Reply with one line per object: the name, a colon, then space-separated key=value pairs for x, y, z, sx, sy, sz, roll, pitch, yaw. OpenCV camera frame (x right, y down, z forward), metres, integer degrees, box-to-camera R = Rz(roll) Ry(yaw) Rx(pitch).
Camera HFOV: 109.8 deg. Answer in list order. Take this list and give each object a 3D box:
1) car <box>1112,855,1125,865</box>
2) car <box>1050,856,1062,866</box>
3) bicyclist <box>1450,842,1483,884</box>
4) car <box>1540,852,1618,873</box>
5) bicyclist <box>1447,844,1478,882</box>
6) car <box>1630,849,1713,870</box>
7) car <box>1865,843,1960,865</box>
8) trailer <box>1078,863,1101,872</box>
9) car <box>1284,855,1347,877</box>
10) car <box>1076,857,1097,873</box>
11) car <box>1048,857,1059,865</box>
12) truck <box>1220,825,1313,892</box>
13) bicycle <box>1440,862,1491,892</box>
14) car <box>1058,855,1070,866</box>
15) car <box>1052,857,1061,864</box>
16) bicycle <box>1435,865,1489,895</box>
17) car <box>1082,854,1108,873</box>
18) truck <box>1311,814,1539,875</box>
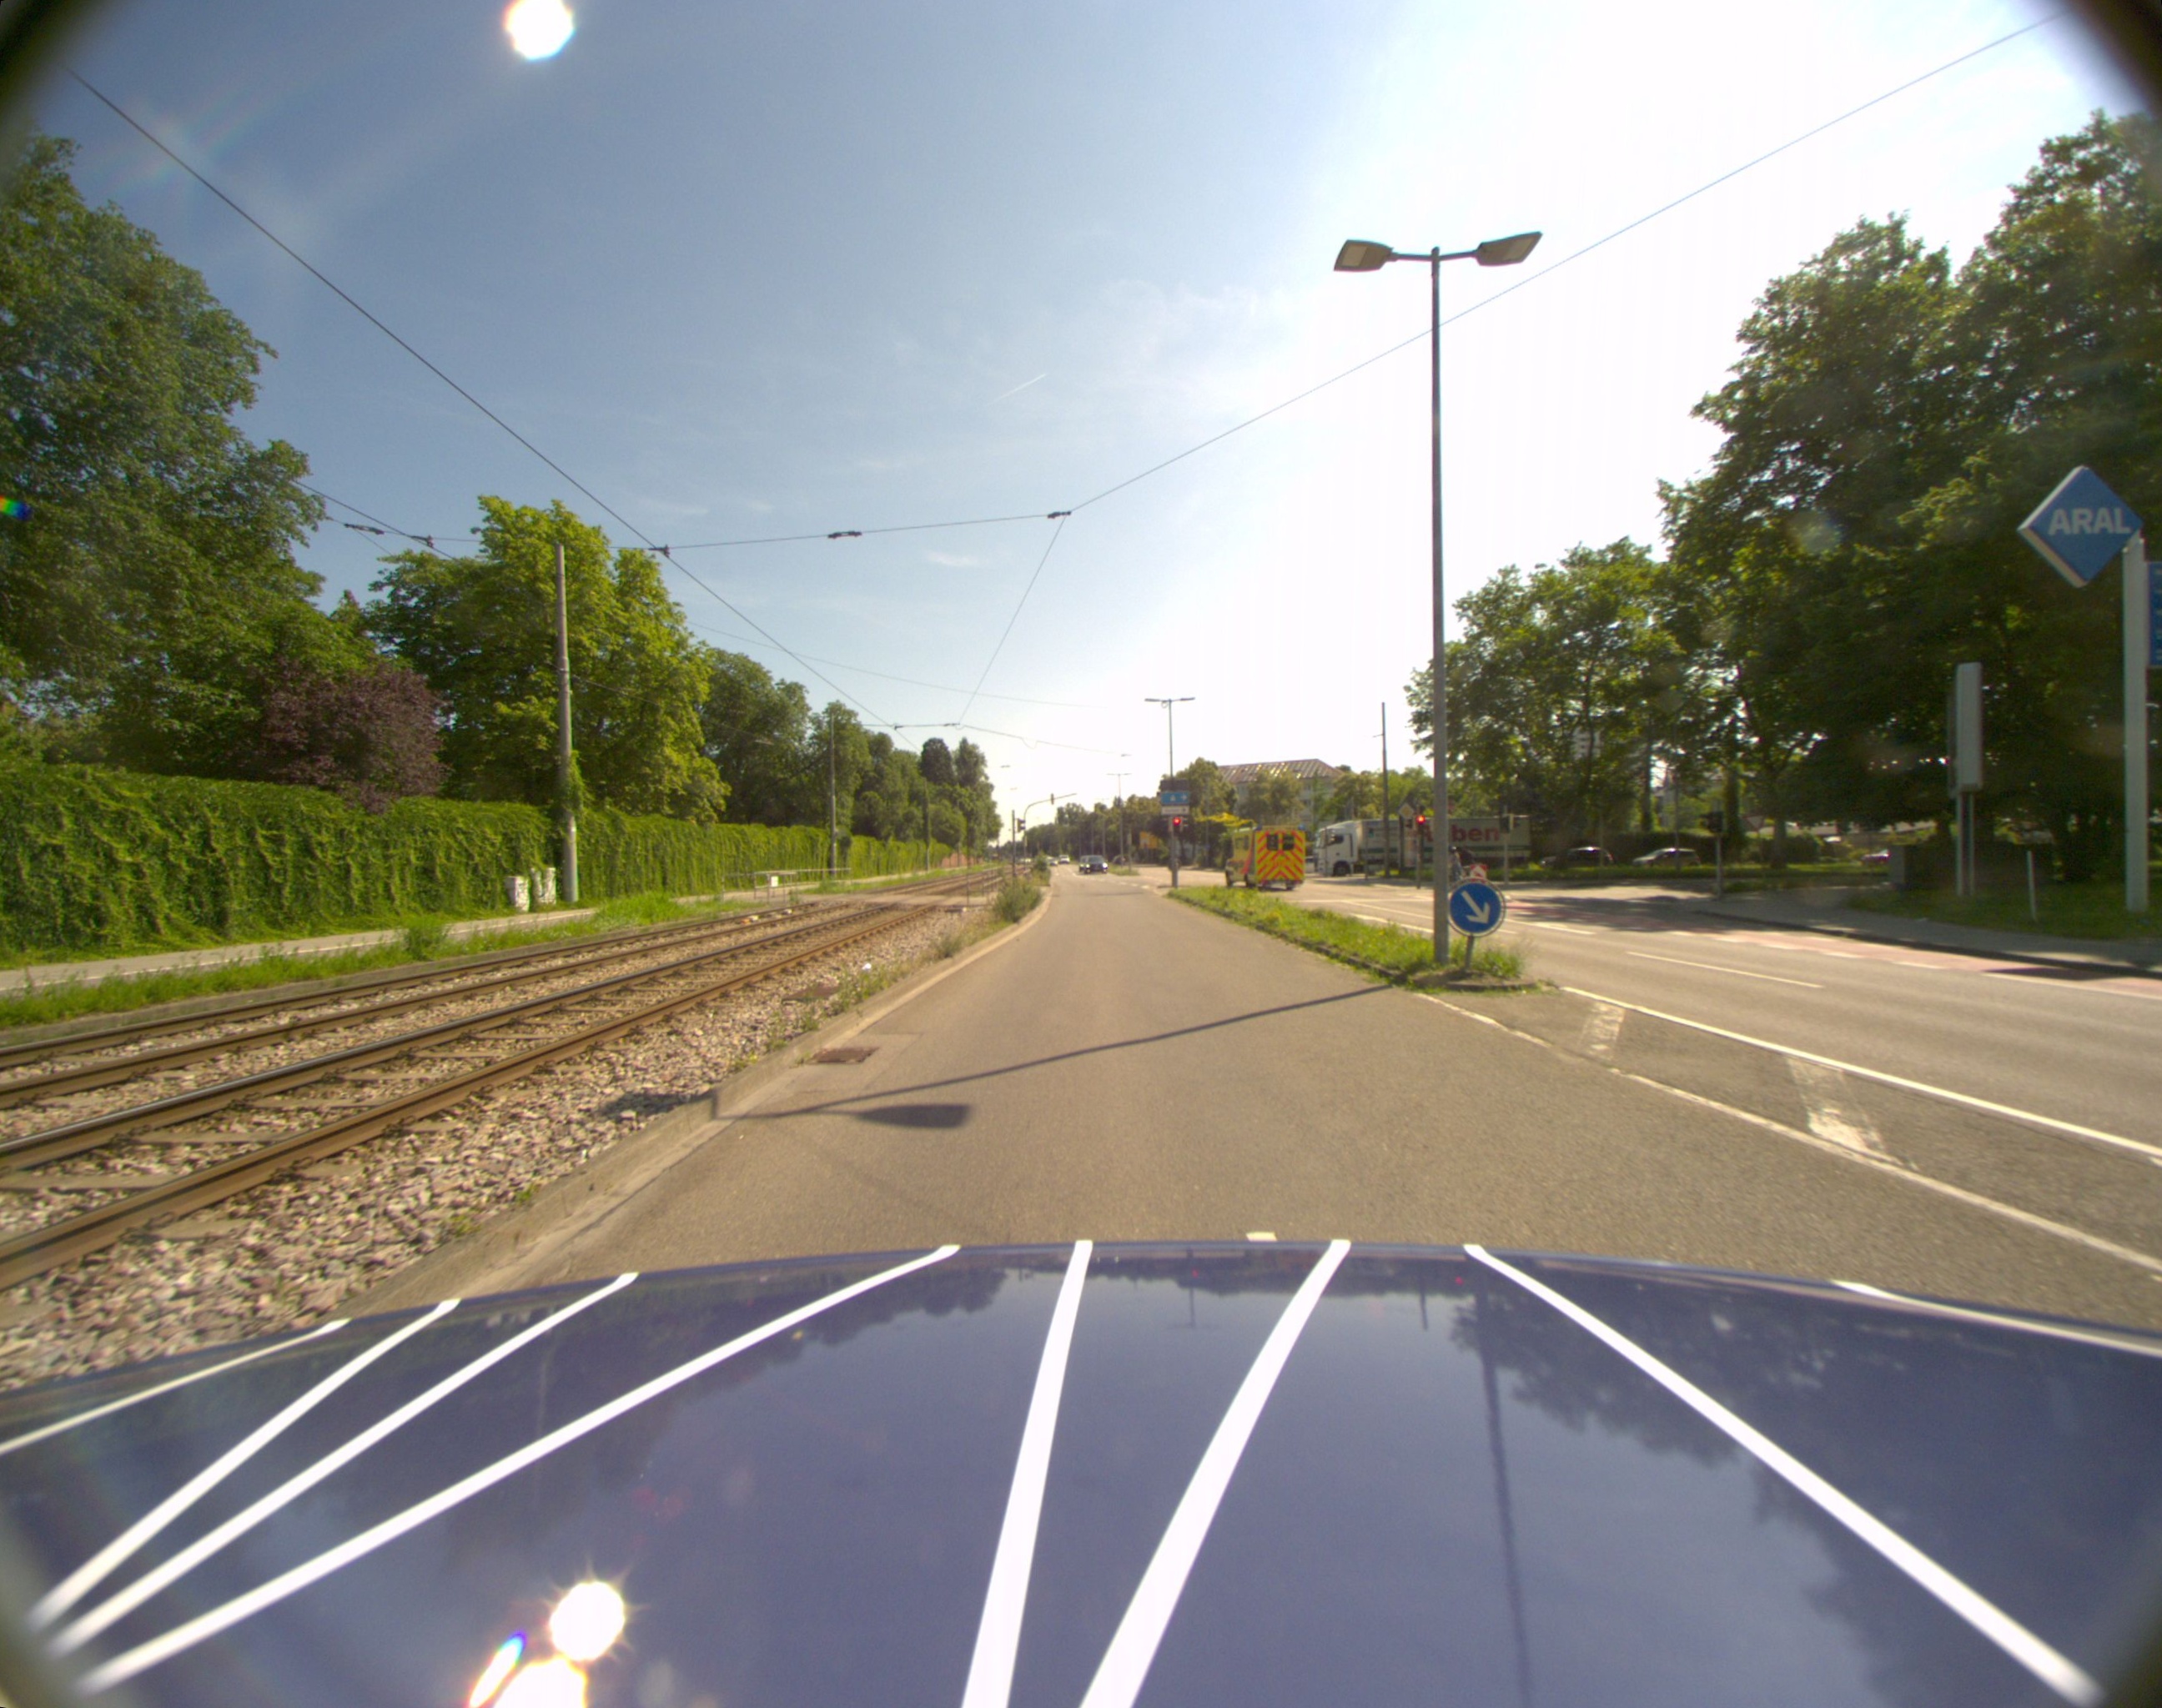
car: x=6.293 y=1.017 z=128.842 sx=1.755 sy=1.573 sz=4.504 roll=0 pitch=0 yaw=-4
car: x=-4.284 y=1.233 z=130.168 sx=1.931 sy=1.593 sz=4.467 roll=-2 pitch=0 yaw=-2
bicyclist: x=15.506 y=0.367 z=30.601 sx=0.837 sy=1.664 sz=0.827 roll=-2 pitch=-1 yaw=-1
car: x=36.043 y=0.603 z=55.055 sx=4.365 sy=1.360 sz=1.758 roll=-2 pitch=-1 yaw=7
bicyclist: x=14.452 y=0.335 z=28.776 sx=0.710 sy=1.412 sz=0.739 roll=-2 pitch=-1 yaw=-9
car: x=42.348 y=0.411 z=54.569 sx=4.365 sy=1.360 sz=1.758 roll=-2 pitch=-1 yaw=7
car: x=58.073 y=-0.003 z=53.135 sx=4.365 sy=1.360 sz=1.758 roll=-2 pitch=-1 yaw=7
trailer: x=0.785 y=1.227 z=70.156 sx=1.756 sy=0.813 sz=3.068 roll=-1 pitch=0 yaw=-6
car: x=17.998 y=0.937 z=58.296 sx=4.387 sy=1.501 sz=1.759 roll=-2 pitch=-2 yaw=24
car: x=0.511 y=1.116 z=77.557 sx=1.755 sy=1.573 sz=4.504 roll=-1 pitch=0 yaw=-4
car: x=-5.285 y=1.345 z=148.210 sx=1.931 sy=1.593 sz=4.467 roll=-2 pitch=0 yaw=-4
truck: x=8.038 y=0.196 z=33.900 sx=2.336 sy=2.652 sz=7.359 roll=0 pitch=0 yaw=0
bicycle: x=15.525 y=0.914 z=30.754 sx=0.940 sy=1.168 sz=2.211 roll=-1 pitch=0 yaw=1
car: x=-3.592 y=1.371 z=161.550 sx=2.265 sy=2.336 sz=5.229 roll=-2 pitch=0 yaw=-3
car: x=-5.890 y=1.624 z=180.858 sx=1.931 sy=1.593 sz=4.467 roll=-2 pitch=0 yaw=-4
bicycle: x=14.475 y=0.970 z=28.960 sx=0.753 sy=1.051 sz=2.074 roll=-1 pitch=0 yaw=-10
car: x=1.168 y=0.836 z=66.406 sx=1.756 sy=1.573 sz=4.503 roll=-1 pitch=0 yaw=-6
truck: x=23.647 y=-0.618 z=52.913 sx=14.287 sy=3.984 sz=2.856 roll=-1 pitch=0 yaw=5
